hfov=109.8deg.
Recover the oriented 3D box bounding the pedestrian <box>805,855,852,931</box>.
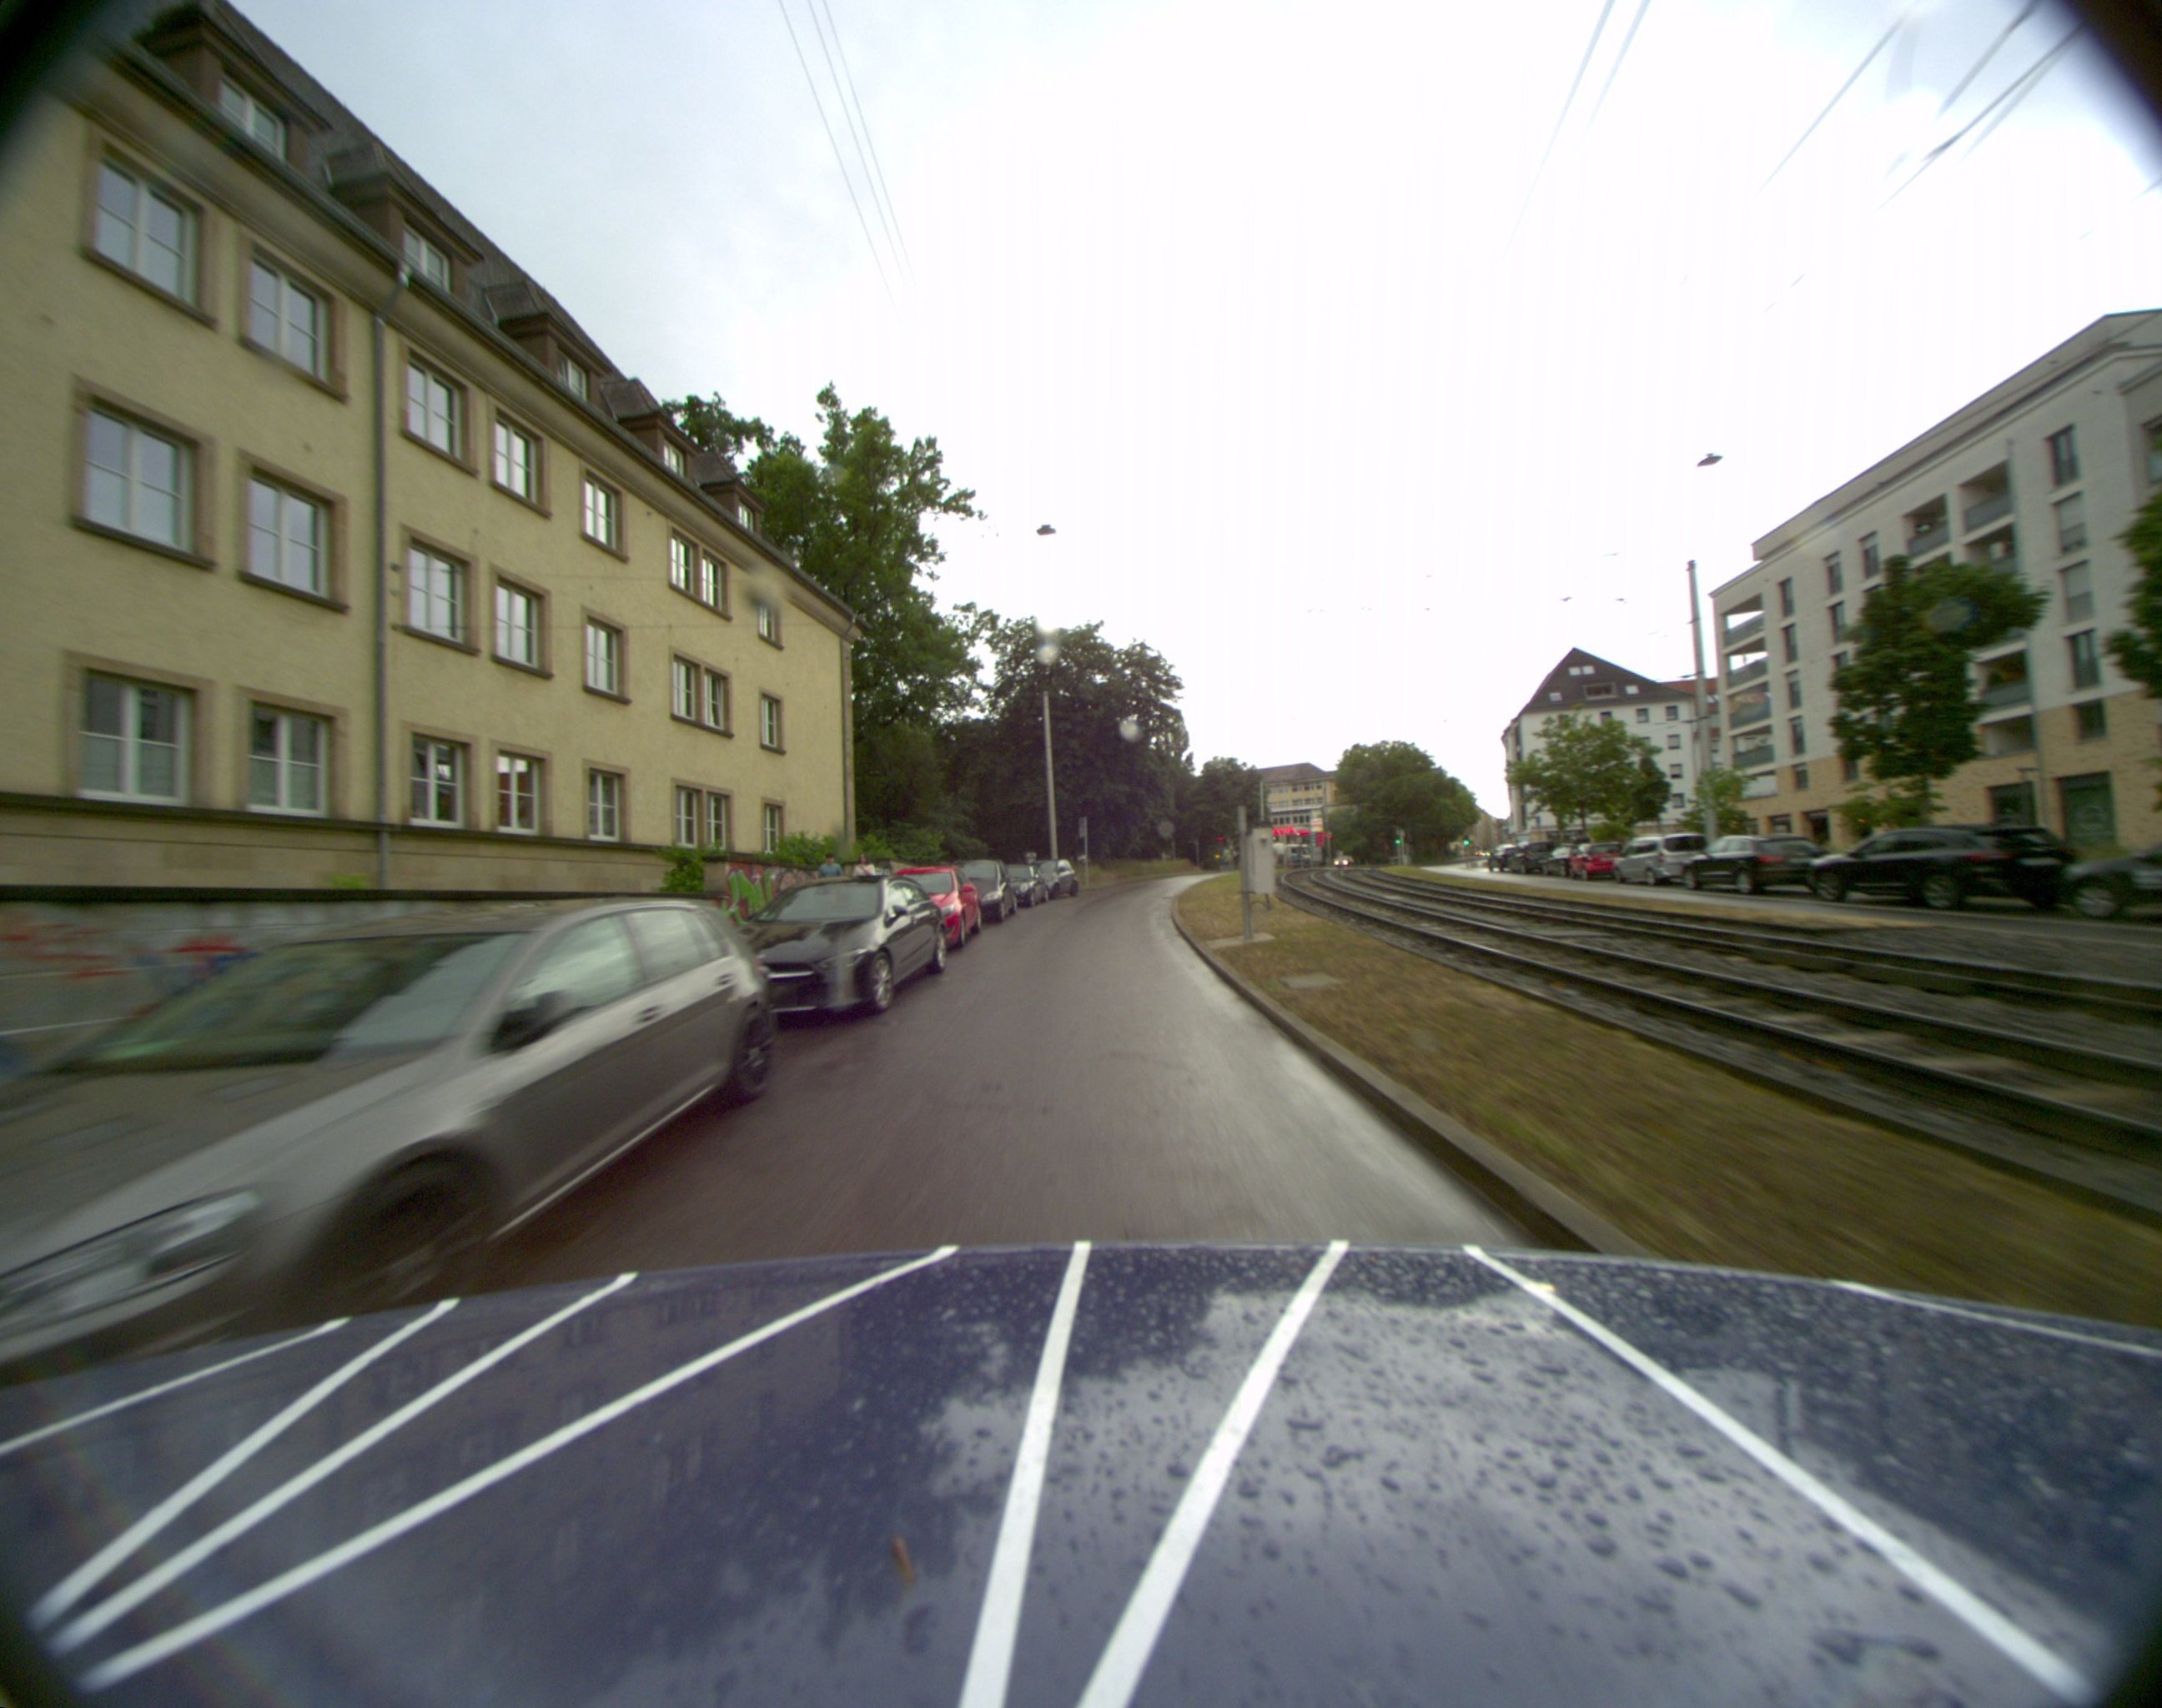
[{"bbox_3d":[-5.891,0.899,17.762,0.719,1.744,0.739,-1,1,11],"label":"pedestrian"}]

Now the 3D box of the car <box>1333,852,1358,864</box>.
[{"bbox_3d":[33.485,0.507,96.145,1.886,1.482,3.857,-2,0,37],"label":"car"}]

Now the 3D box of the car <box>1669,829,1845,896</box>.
[{"bbox_3d":[18.989,0.209,21.659,1.734,1.634,4.536,-3,0,13],"label":"car"}]

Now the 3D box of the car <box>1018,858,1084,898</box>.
[{"bbox_3d":[-1.139,0.909,29.961,1.599,1.457,2.725,-1,0,23],"label":"car"}]

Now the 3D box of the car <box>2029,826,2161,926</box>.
[{"bbox_3d":[17.400,0.322,11.203,1.740,1.480,4.259,-3,0,6],"label":"car"}]

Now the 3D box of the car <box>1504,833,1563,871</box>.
[{"bbox_3d":[24.491,-0.121,41.241,1.583,1.848,4.338,-4,-1,16],"label":"car"}]

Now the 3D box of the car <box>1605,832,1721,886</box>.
[{"bbox_3d":[20.628,0.156,27.166,1.665,1.737,4.261,-3,0,13],"label":"car"}]

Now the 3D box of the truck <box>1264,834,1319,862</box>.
[{"bbox_3d":[27.057,-0.795,97.877,2.843,3.379,6.108,-1,0,-43],"label":"truck"}]

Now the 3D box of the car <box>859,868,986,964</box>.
[{"bbox_3d":[-2.935,1.095,14.927,1.670,1.468,4.065,-3,0,-2],"label":"car"}]

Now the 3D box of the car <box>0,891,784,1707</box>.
[{"bbox_3d":[-3.020,1.017,3.515,1.670,1.468,4.108,-1,0,0],"label":"car"}]

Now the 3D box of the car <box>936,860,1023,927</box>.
[{"bbox_3d":[-2.601,0.970,20.386,1.669,1.564,3.856,-1,0,2],"label":"car"}]

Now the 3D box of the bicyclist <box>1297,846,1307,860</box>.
[{"bbox_3d":[20.169,-0.110,69.404,0.799,1.287,0.595,-2,0,11],"label":"bicyclist"}]

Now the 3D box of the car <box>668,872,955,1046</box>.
[{"bbox_3d":[-2.824,1.010,9.139,1.669,1.468,4.458,-1,0,2],"label":"car"}]

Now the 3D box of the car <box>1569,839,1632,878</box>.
[{"bbox_3d":[21.729,0.184,31.881,1.471,1.522,2.935,-2,0,20],"label":"car"}]

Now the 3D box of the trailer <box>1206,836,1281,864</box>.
[{"bbox_3d":[21.850,-0.557,102.868,9.809,3.375,2.819,-3,0,43],"label":"trailer"}]

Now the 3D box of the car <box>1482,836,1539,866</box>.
[{"bbox_3d":[25.907,-0.214,45.978,1.996,1.595,4.220,-4,-1,16],"label":"car"}]

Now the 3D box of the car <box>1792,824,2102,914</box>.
[{"bbox_3d":[17.947,0.270,16.192,1.806,1.574,4.702,-3,0,11],"label":"car"}]

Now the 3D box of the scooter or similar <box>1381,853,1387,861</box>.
[{"bbox_3d":[50.410,0.491,126.514,1.365,1.186,0.399,-5,2,-43],"label":"scooter or similar"}]

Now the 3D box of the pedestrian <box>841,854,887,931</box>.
[{"bbox_3d":[-5.012,0.879,17.602,0.719,1.744,0.739,-1,1,11],"label":"pedestrian"}]

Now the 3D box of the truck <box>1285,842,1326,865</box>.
[{"bbox_3d":[36.469,-0.156,123.048,2.655,3.548,10.275,-2,0,38],"label":"truck"}]

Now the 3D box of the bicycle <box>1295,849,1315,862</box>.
[{"bbox_3d":[20.361,0.149,69.142,1.709,1.133,0.626,-2,0,12],"label":"bicycle"}]

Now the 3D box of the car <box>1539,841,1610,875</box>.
[{"bbox_3d":[23.339,0.150,36.113,1.553,1.439,4.405,-3,0,16],"label":"car"}]

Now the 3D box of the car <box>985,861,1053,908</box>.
[{"bbox_3d":[-2.045,0.993,25.989,1.539,1.408,3.646,-1,0,8],"label":"car"}]
